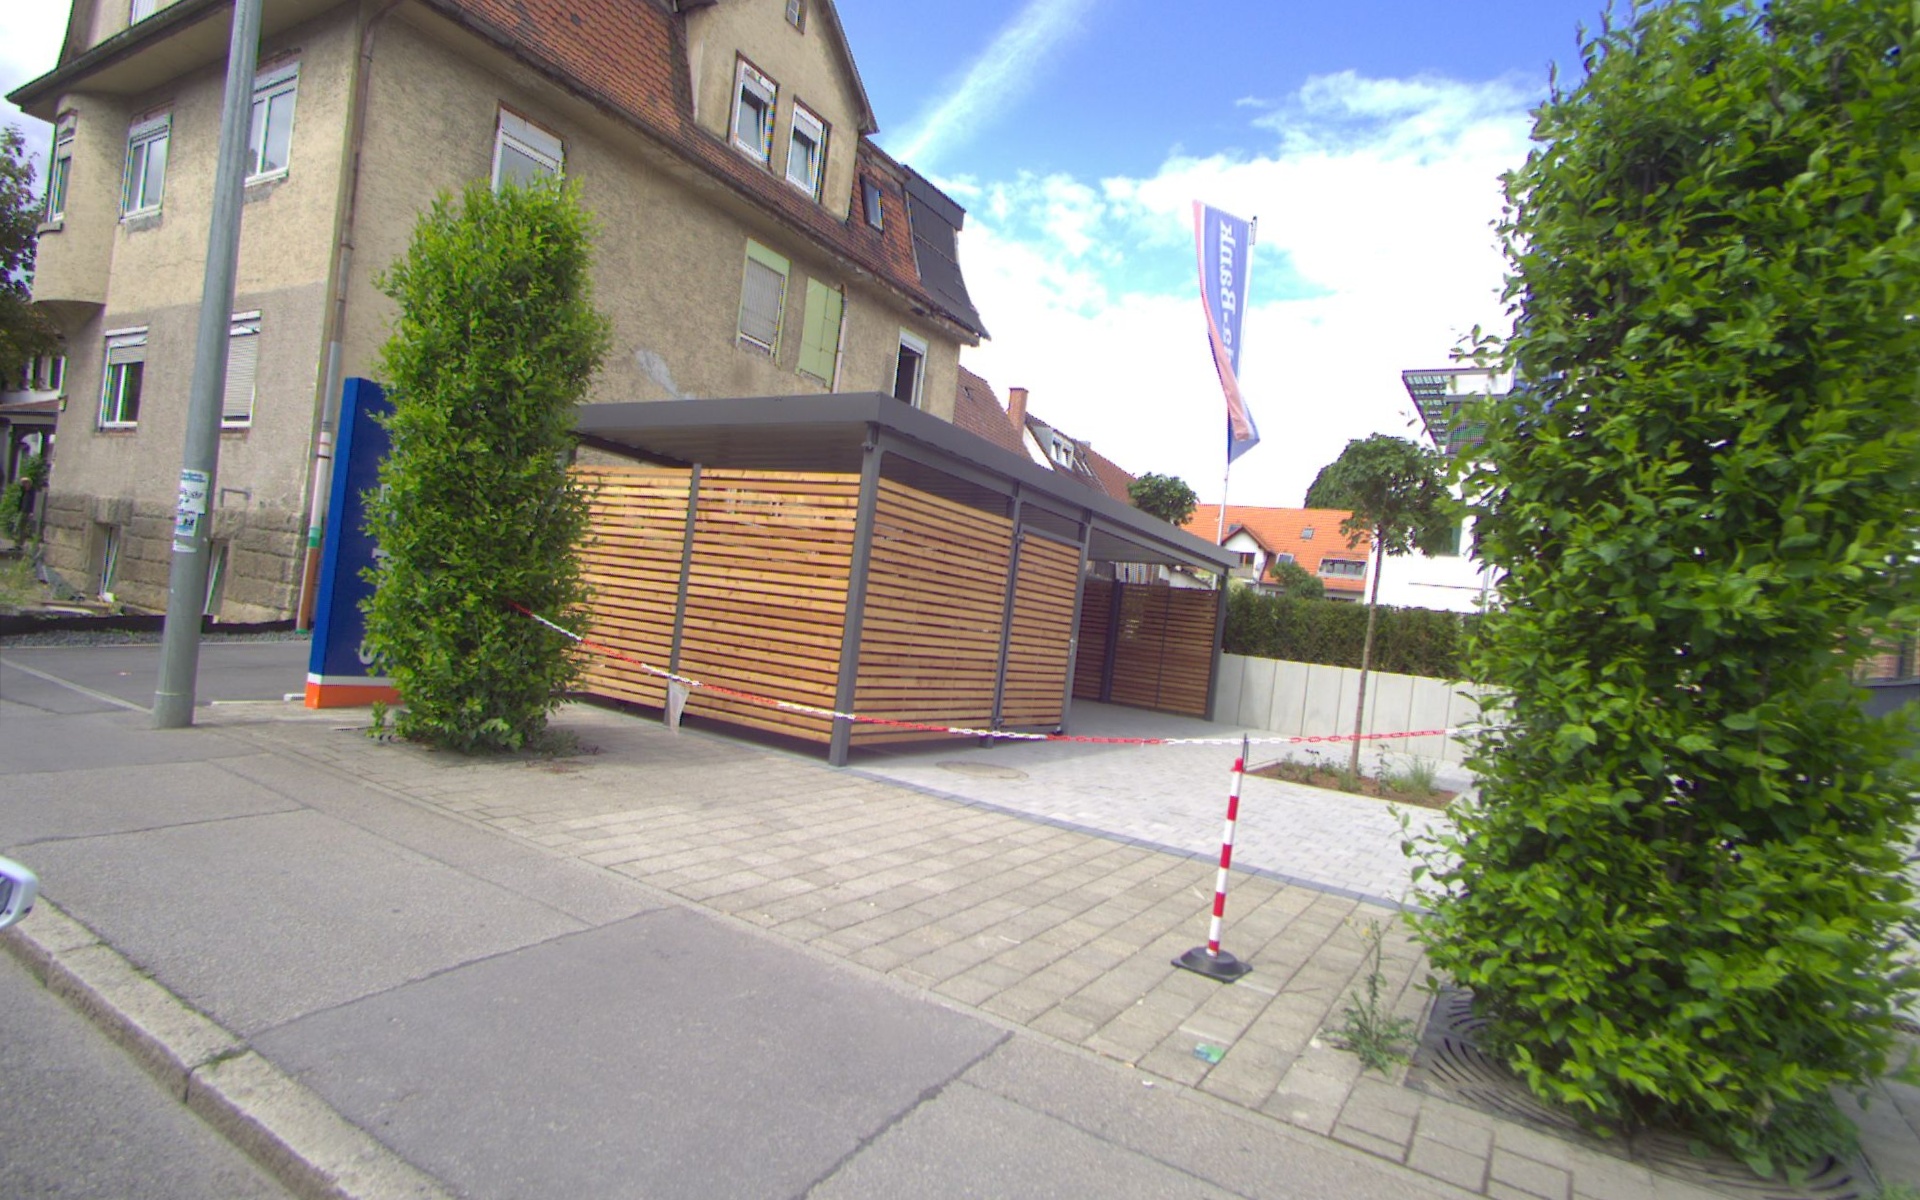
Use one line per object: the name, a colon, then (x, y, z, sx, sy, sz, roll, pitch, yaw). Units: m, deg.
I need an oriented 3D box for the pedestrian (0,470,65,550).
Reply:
pedestrian: (-21.168, -2.028, 22.939, 0.778, 1.662, 0.793, 8, -1, -26)

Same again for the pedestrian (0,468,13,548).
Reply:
pedestrian: (-22.052, -2.117, 22.666, 0.736, 1.803, 0.892, 8, -1, -33)
